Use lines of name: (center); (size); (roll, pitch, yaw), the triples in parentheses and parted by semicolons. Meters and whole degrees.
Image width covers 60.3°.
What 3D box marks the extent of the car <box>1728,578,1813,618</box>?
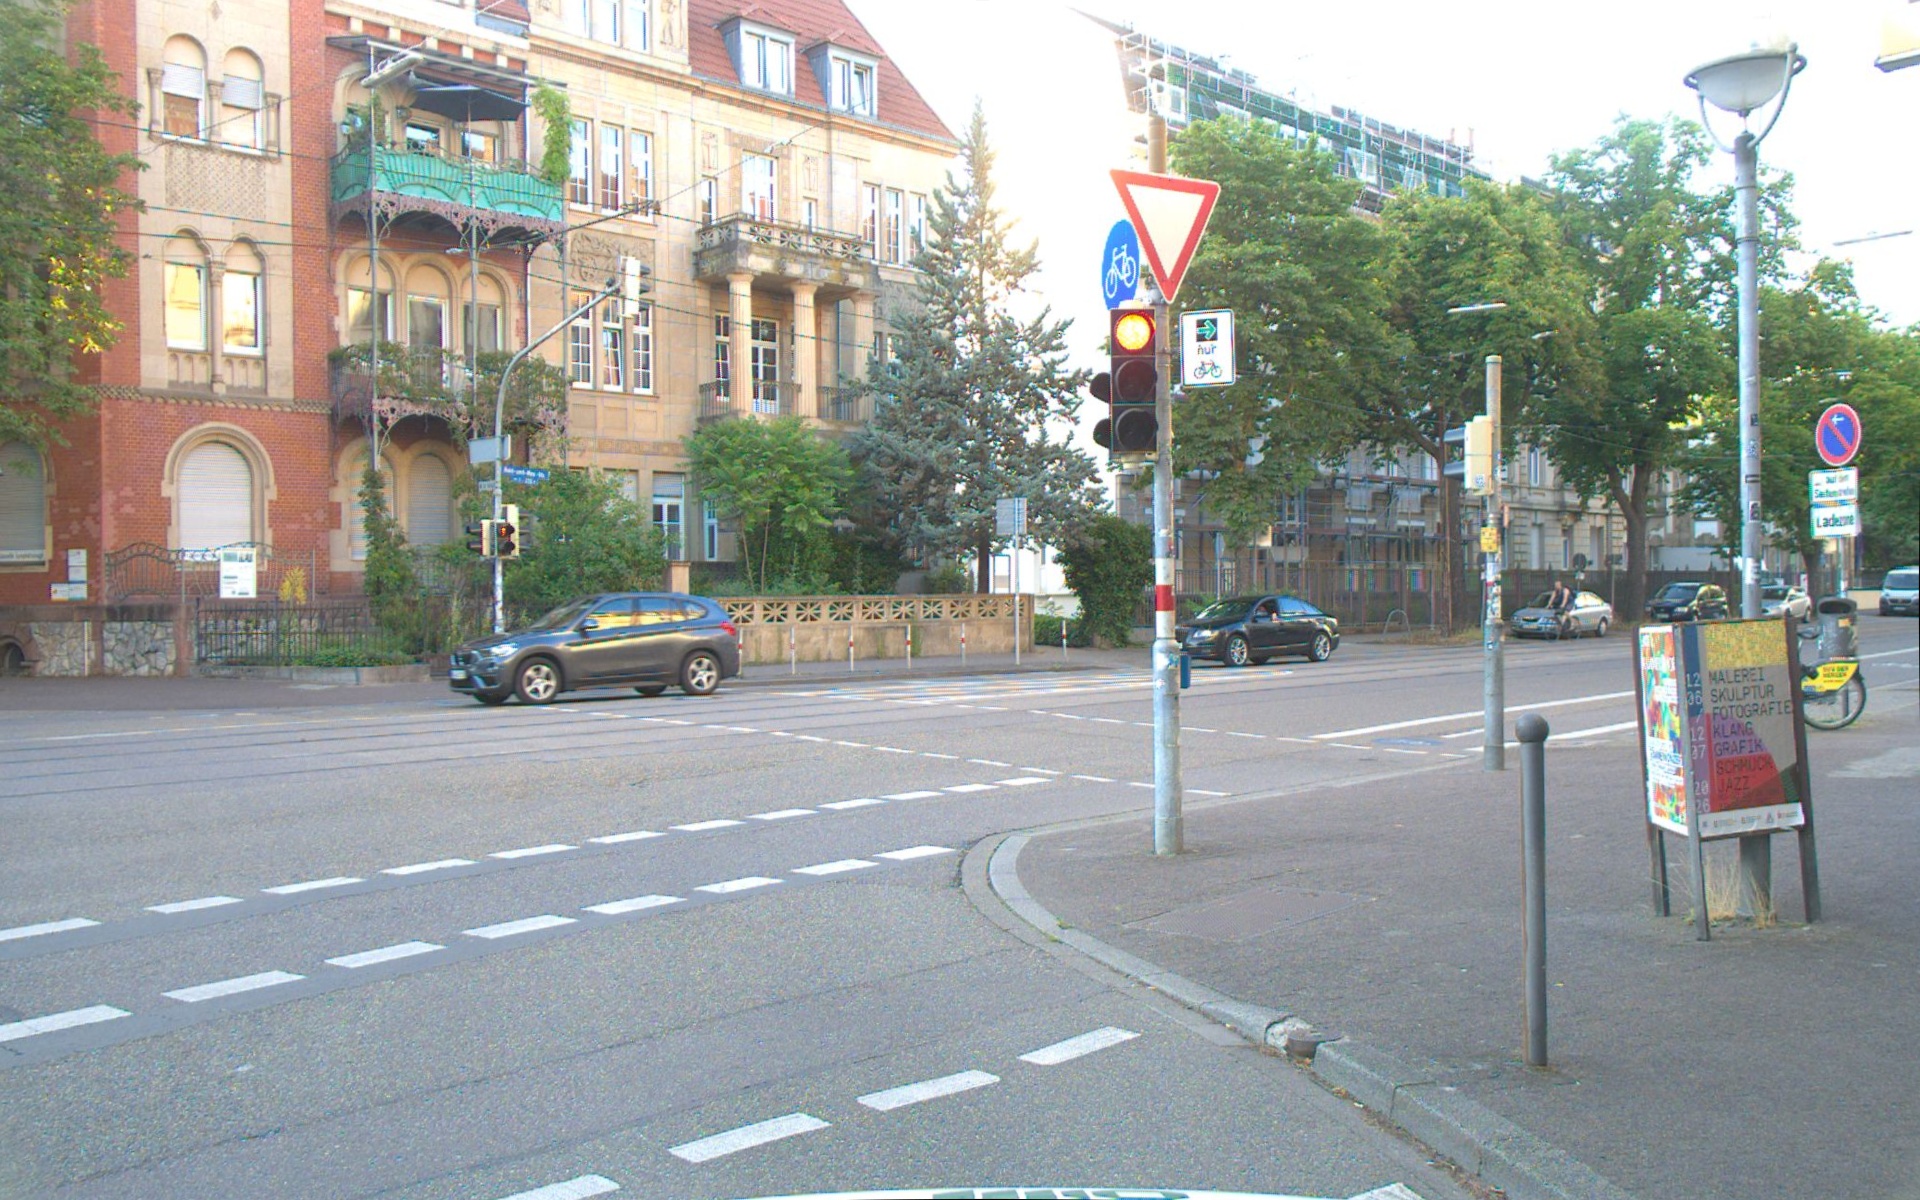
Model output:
car: (32.197, -0.082, 65.639); (1.916, 1.508, 4.293); (-1, 0, 43)

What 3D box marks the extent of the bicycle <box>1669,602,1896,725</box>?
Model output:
bicycle: (7.964, 0.607, 16.092); (1.832, 1.150, 0.732); (-1, 0, 10)

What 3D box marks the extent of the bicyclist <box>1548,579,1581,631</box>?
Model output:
bicyclist: (16.960, 0.142, 46.430); (0.729, 1.453, 0.547); (-1, 0, -38)

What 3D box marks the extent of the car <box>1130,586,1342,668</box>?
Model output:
car: (5.822, 0.521, 34.562); (4.591, 1.536, 1.921); (-1, 0, -41)

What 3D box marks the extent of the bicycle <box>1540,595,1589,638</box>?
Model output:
bicycle: (16.971, 0.454, 46.427); (1.591, 1.168, 0.547); (-1, 0, -38)

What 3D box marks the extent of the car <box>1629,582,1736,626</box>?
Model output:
car: (25.844, 0.127, 59.126); (4.131, 1.508, 1.921); (-1, 0, -41)

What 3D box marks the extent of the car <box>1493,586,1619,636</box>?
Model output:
car: (18.765, 0.324, 51.969); (1.977, 1.451, 4.599); (-1, 0, 45)

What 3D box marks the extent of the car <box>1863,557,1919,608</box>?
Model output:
car: (44.804, -0.848, 78.683); (4.595, 2.356, 1.919); (-1, 0, -43)

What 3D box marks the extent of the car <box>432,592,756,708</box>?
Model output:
car: (-5.410, 0.681, 24.788); (4.380, 1.536, 1.921); (-1, 0, -41)
